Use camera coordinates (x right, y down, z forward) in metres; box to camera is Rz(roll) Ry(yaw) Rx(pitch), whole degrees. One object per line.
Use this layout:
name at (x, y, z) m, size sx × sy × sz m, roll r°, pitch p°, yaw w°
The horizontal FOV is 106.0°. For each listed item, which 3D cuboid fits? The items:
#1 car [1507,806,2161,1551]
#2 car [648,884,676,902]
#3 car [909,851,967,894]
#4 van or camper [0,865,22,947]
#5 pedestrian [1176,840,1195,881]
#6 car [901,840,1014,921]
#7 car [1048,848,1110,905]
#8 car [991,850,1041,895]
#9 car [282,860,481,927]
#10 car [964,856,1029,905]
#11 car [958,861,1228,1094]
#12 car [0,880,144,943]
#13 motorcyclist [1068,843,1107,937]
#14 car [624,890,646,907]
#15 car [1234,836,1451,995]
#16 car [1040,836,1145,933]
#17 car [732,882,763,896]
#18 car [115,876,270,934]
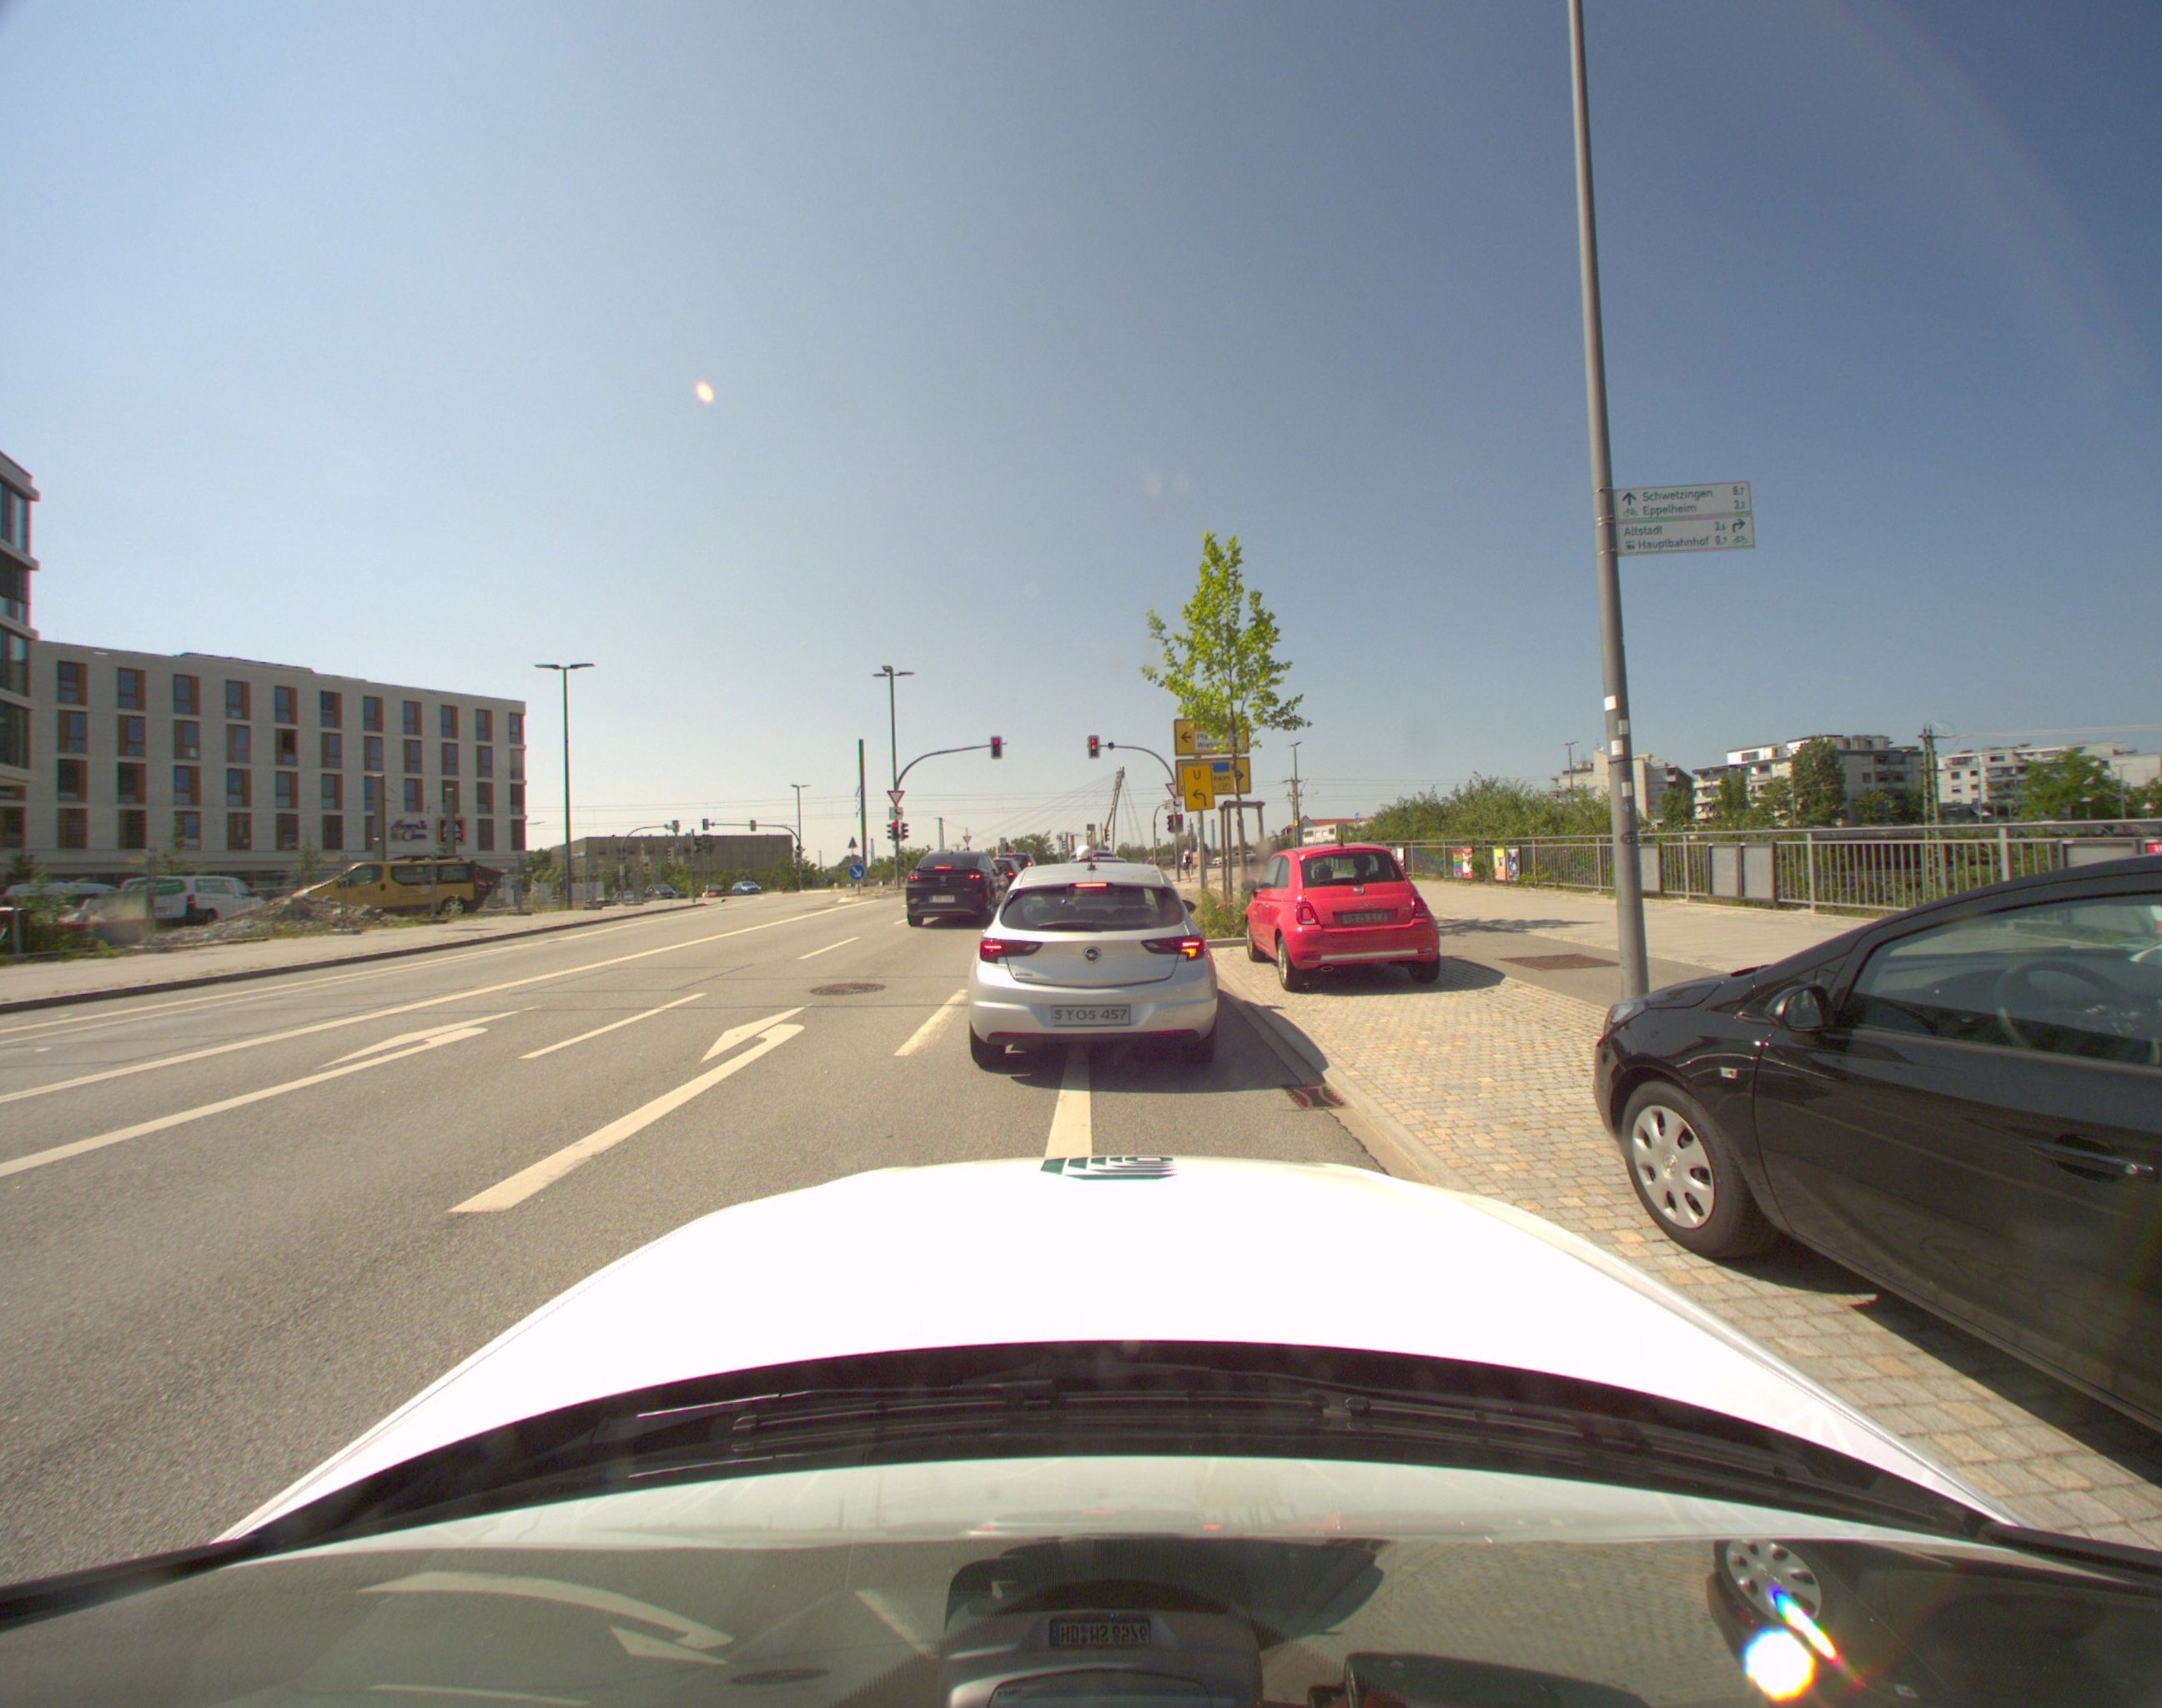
car at (2.877, 0.588, 1.919) m, size 1.654 × 1.426 × 4.001 m, roll -3°, pitch -1°, yaw 1°
car at (-38.521, 3.588, 74.856) m, size 1.686 × 1.476 × 3.368 m, roll -2°, pitch 0°, yaw -37°
car at (-5.414, 0.688, 31.245) m, size 1.592 × 1.547 × 3.761 m, roll 0°, pitch -1°, yaw 0°
van or camper at (-36.487, 1.721, 25.337) m, size 2.318 × 2.735 × 4.944 m, roll 0°, pitch -1°, yaw -26°
pedestrian at (4.811, 0.307, 37.414) m, size 0.645 × 1.836 × 0.798 m, roll -4°, pitch -1°, yaw 0°
car at (-2.704, 0.566, 18.828) m, size 1.795 × 1.641 × 4.367 m, roll 0°, pitch -1°, yaw 2°
car at (0.018, 0.600, 24.566) m, size 1.717 × 1.563 × 4.002 m, roll 0°, pitch 1°, yaw 2°
car at (-2.480, 0.691, 31.761) m, size 1.644 × 1.615 × 3.819 m, roll 0°, pitch -1°, yaw 0°
car at (-22.606, 1.192, 26.478) m, size 1.964 × 1.962 × 4.655 m, roll -1°, pitch -1°, yaw 40°
car at (-2.607, 0.785, 25.835) m, size 1.569 × 1.434 × 3.786 m, roll 0°, pitch -1°, yaw 1°
car at (0.059, 0.812, 7.259) m, size 1.738 × 1.478 × 3.998 m, roll 0°, pitch 0°, yaw -1°
car at (-33.669, 1.836, 27.201) m, size 1.795 × 1.857 × 3.817 m, roll 0°, pitch -1°, yaw -27°
motorcyclist at (0.103, 0.540, 12.412) m, size 0.579 × 1.389 × 0.707 m, roll 0°, pitch -1°, yaw 1°
car at (-45.331, 4.491, 82.722) m, size 1.578 × 1.587 × 3.441 m, roll 0°, pitch -1°, yaw -35°
car at (2.920, 0.607, 9.803) m, size 1.603 × 1.496 × 3.355 m, roll -4°, pitch 0°, yaw 3°
car at (0.296, 0.560, 17.688) m, size 1.986 × 1.820 × 4.404 m, roll 0°, pitch 0°, yaw 2°
car at (-33.225, 3.483, 81.033) m, size 1.831 × 1.331 × 3.954 m, roll 0°, pitch -2°, yaw -38°
car at (-31.036, 1.692, 28.665) m, size 1.873 × 1.774 × 4.619 m, roll 0°, pitch -1°, yaw -22°
